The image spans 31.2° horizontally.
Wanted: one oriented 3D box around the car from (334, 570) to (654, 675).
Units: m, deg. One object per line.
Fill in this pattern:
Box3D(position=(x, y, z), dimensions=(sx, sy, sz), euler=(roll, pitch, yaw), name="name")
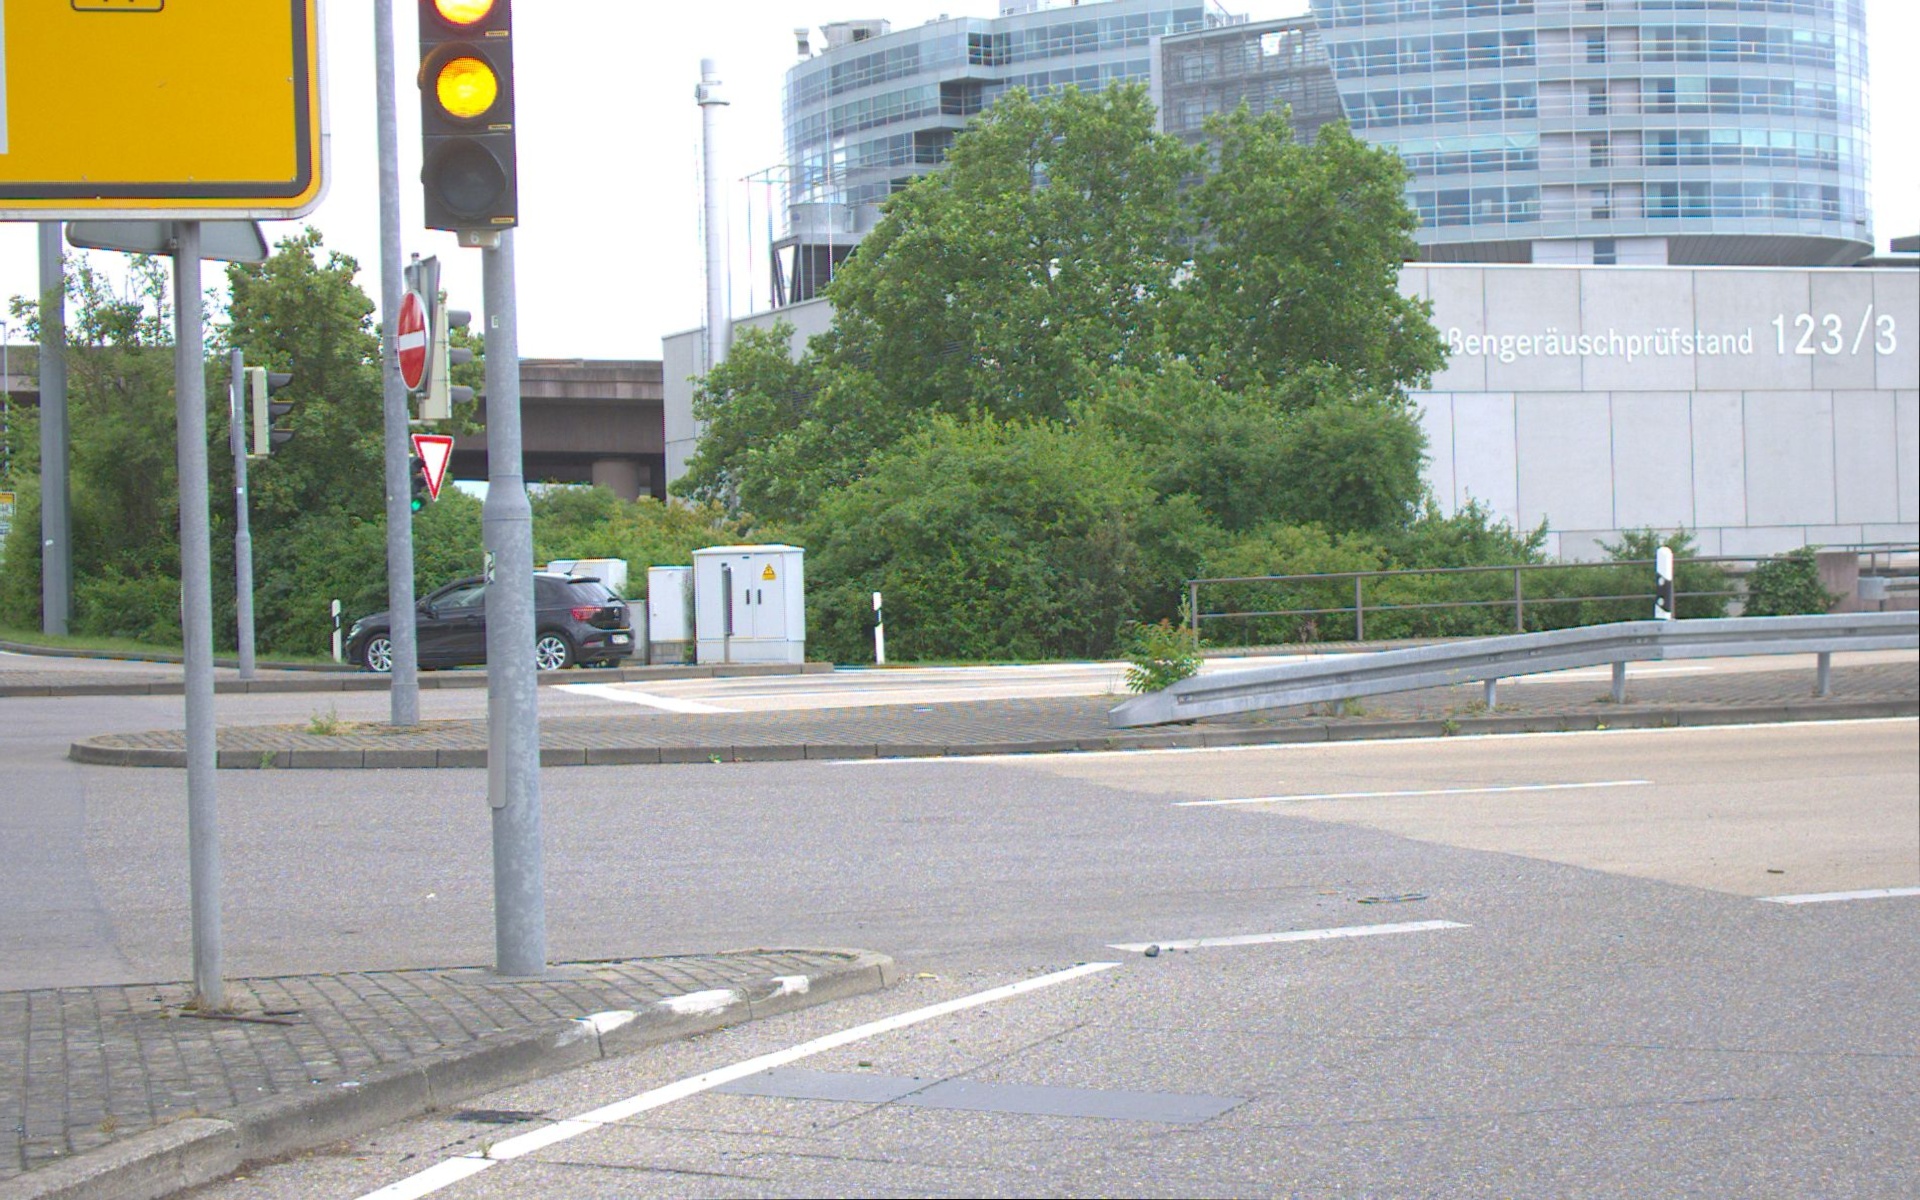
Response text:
Box3D(position=(-6.501, 0.316, 48.044), dimensions=(3.984, 1.417, 1.914), euler=(-1, 0, 18), name="car")
